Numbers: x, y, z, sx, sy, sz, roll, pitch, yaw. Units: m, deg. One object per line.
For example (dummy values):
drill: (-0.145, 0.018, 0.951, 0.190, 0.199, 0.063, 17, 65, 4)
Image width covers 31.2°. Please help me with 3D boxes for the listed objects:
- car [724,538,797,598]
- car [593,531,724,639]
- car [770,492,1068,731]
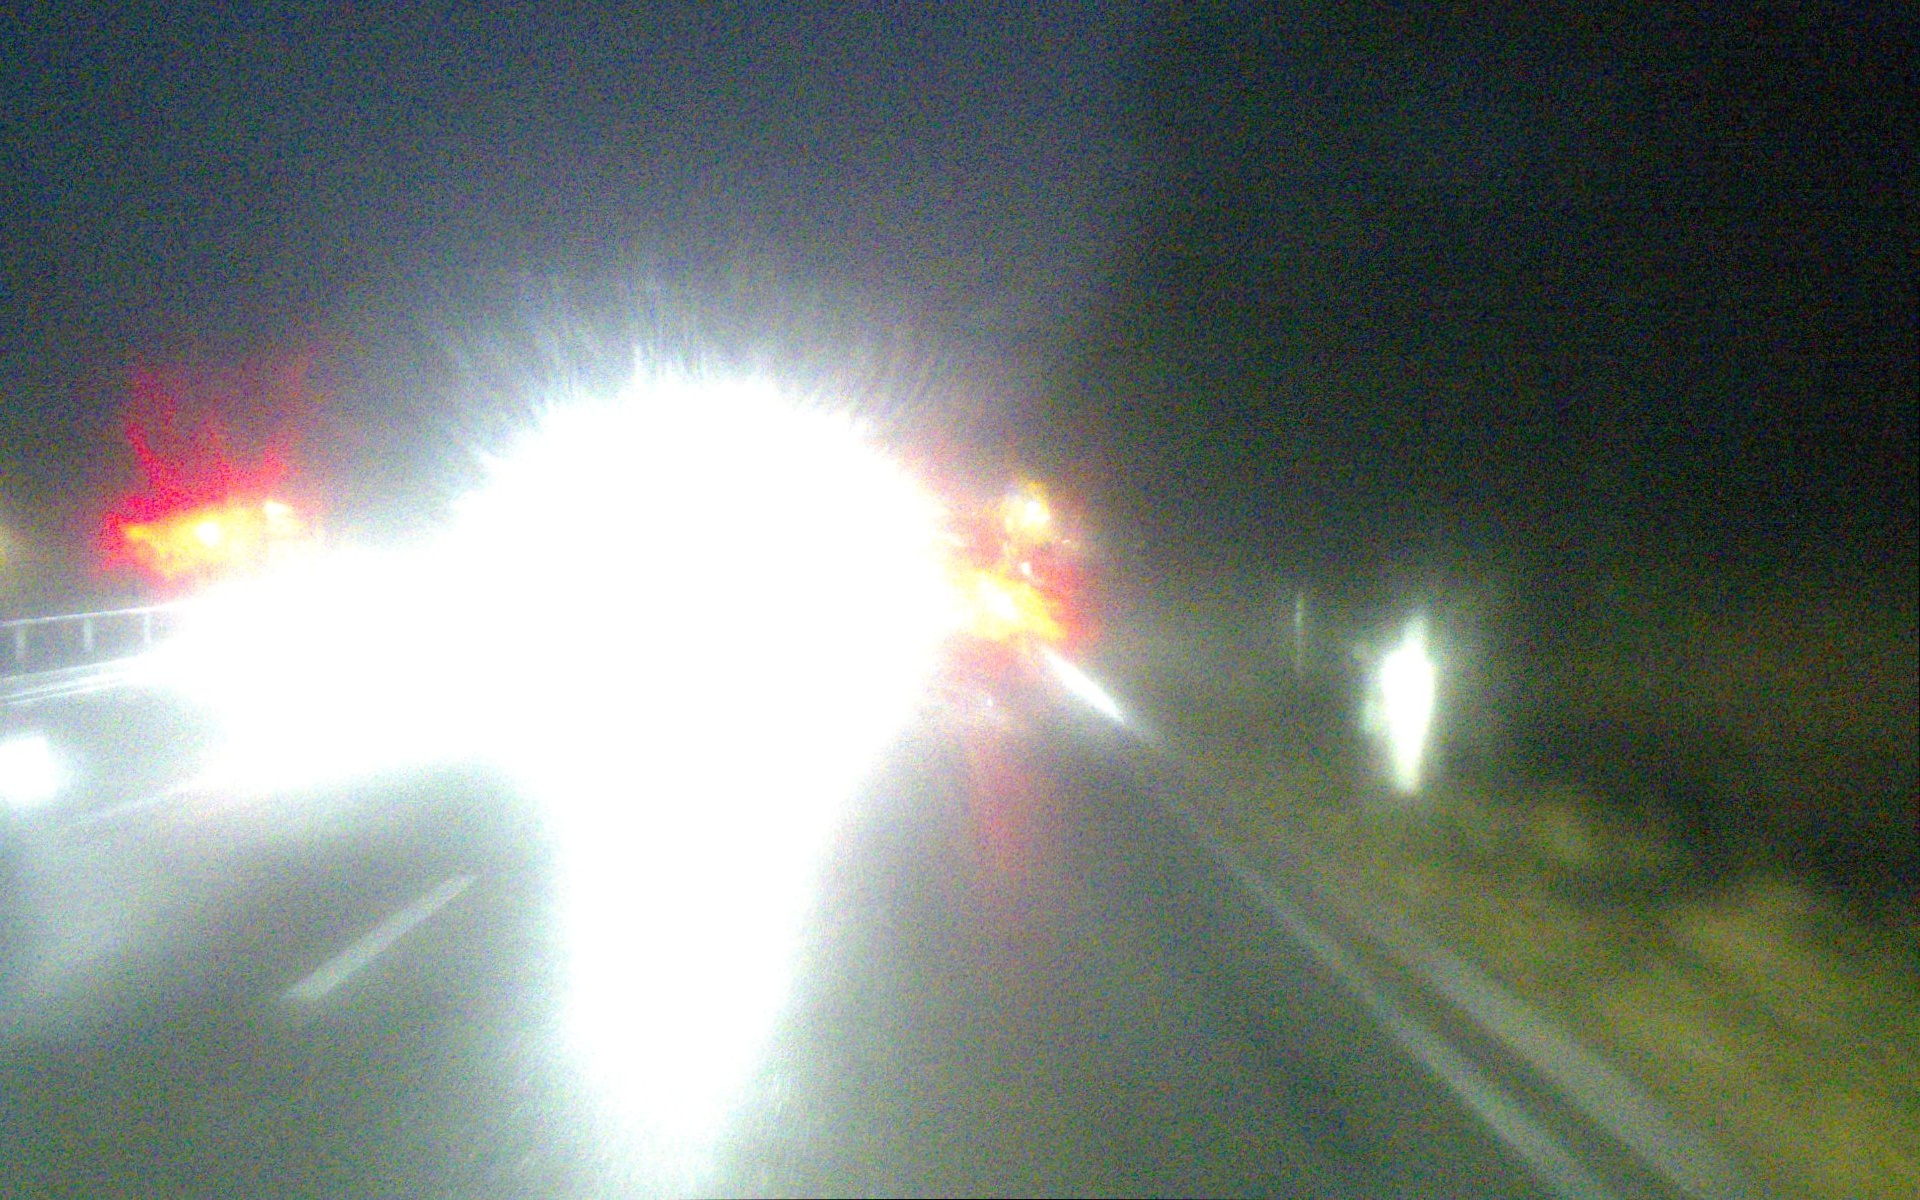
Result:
car: (-5.424, -0.885, 93.973, 1.765, 1.514, 4.490, -2, 1, -1)
car: (-4.824, -0.280, 55.541, 1.804, 1.622, 4.407, -2, 1, -2)
car: (-0.334, 0.050, 31.293, 2.458, 1.952, 4.912, 1, 1, 0)
